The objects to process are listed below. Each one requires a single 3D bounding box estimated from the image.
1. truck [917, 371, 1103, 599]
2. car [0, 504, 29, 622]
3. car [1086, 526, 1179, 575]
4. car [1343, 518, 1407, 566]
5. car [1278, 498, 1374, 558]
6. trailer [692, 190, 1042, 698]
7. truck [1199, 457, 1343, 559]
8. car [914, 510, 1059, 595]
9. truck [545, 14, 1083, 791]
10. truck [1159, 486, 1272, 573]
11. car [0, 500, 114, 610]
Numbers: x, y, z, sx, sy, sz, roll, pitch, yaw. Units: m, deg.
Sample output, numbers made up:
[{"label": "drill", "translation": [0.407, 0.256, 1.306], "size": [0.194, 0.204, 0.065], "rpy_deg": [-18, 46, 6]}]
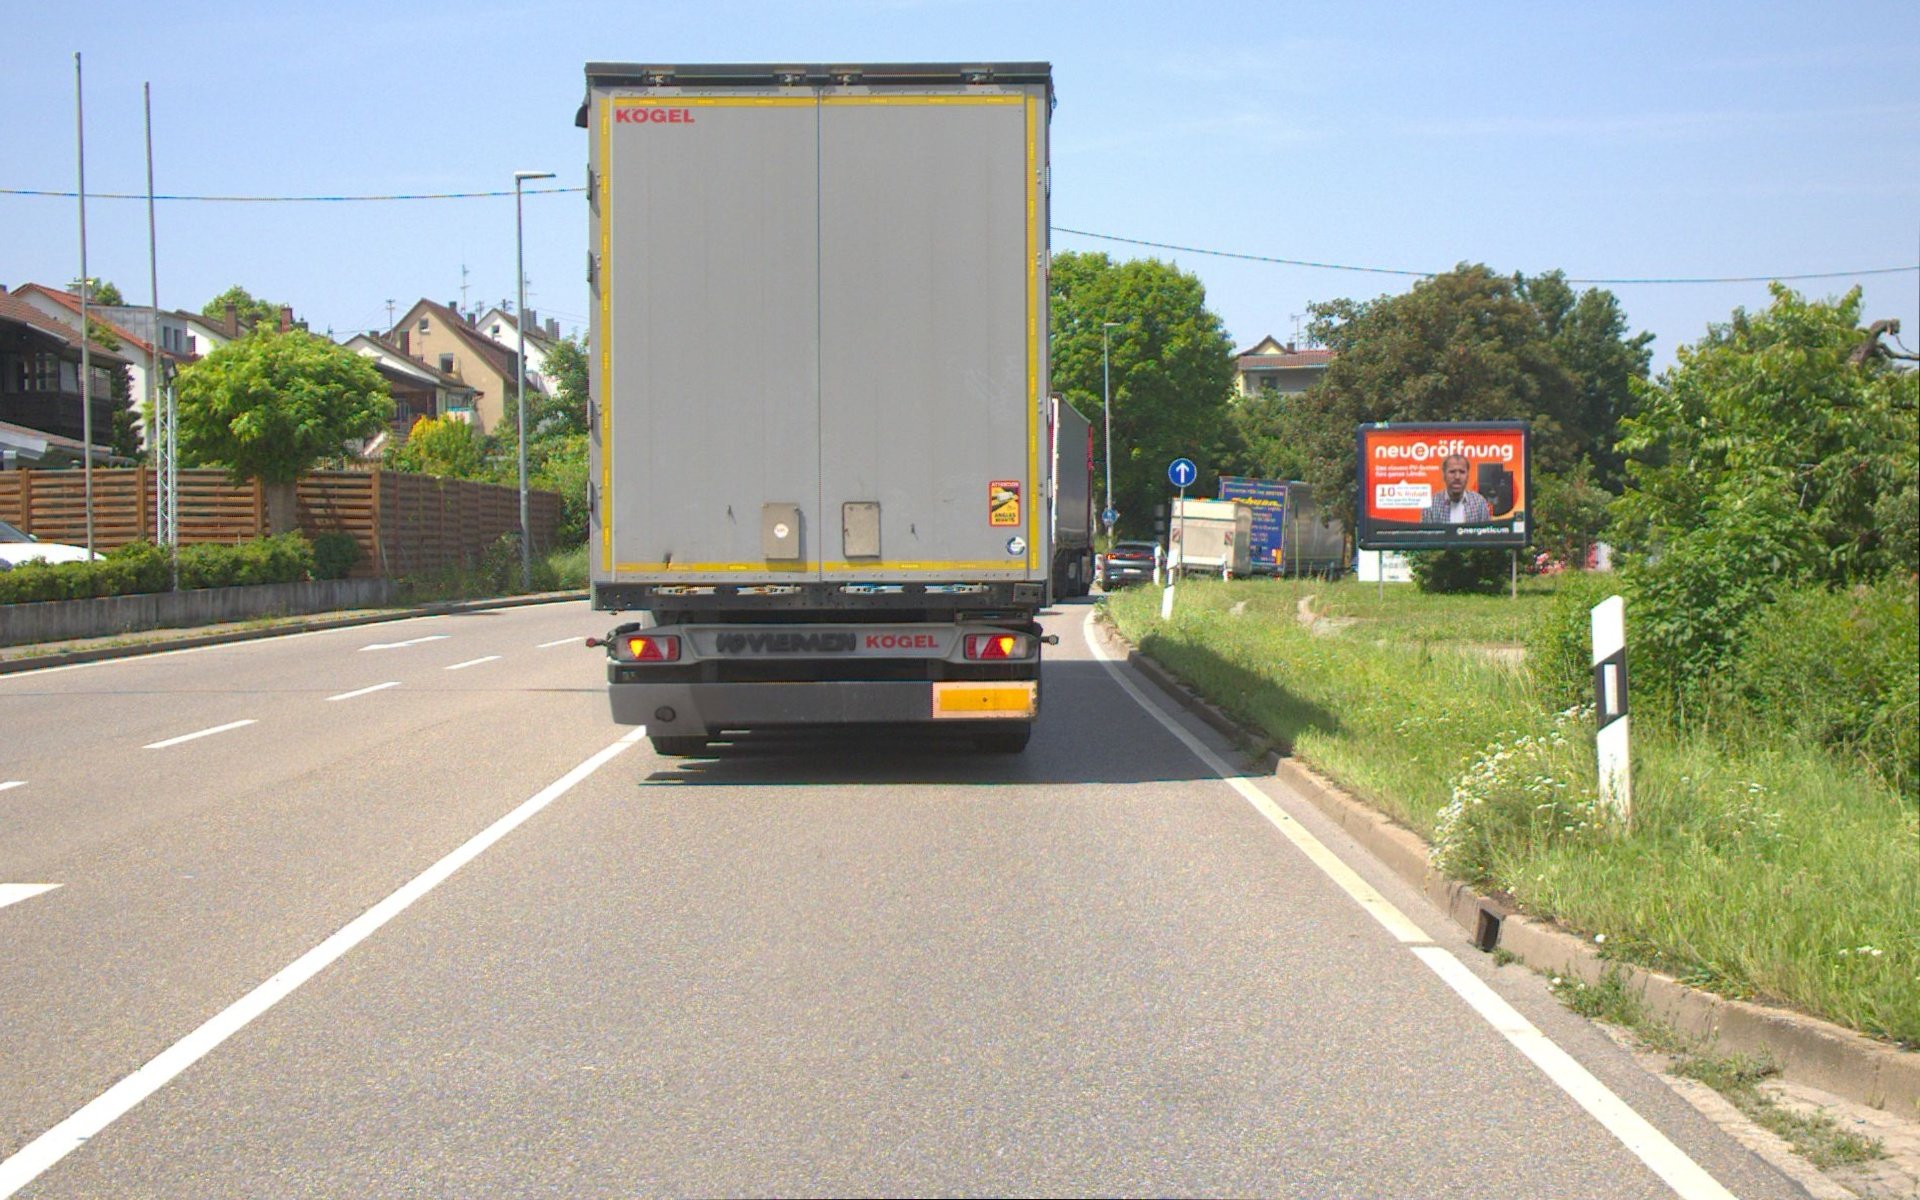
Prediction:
[{"label": "truck", "translation": [1.278, -2.249, 73.116], "size": [2.761, 4.274, 16.413], "rpy_deg": [1, 1, 5]}, {"label": "car", "translation": [-13.908, -0.491, 42.708], "size": [4.334, 1.442, 1.896], "rpy_deg": [1, 1, 26]}, {"label": "car", "translation": [5.048, -1.421, 100.251], "size": [1.995, 1.371, 3.998], "rpy_deg": [1, 1, 13]}, {"label": "car", "translation": [17.747, -2.455, 146.765], "size": [1.995, 2.007, 3.997], "rpy_deg": [1, 1, 17]}, {"label": "car", "translation": [14.357, -2.839, 134.396], "size": [2.534, 2.269, 6.376], "rpy_deg": [1, 2, 17]}, {"label": "trailer", "translation": [-0.732, -1.347, 31.078], "size": [2.825, 4.096, 6.544], "rpy_deg": [0, 1, 0]}, {"label": "truck", "translation": [11.501, -3.383, 126.062], "size": [3.435, 3.592, 9.346], "rpy_deg": [1, 2, 17]}, {"label": "car", "translation": [0.468, -0.772, 56.544], "size": [1.819, 1.342, 3.846], "rpy_deg": [1, 1, 9]}, {"label": "truck", "translation": [-0.756, -1.179, 24.113], "size": [2.822, 4.113, 11.444], "rpy_deg": [1, 1, 0]}, {"label": "truck", "translation": [8.511, -2.301, 114.093], "size": [2.545, 2.793, 6.027], "rpy_deg": [1, 1, 16]}, {"label": "car", "translation": [-13.813, -0.625, 46.651], "size": [4.334, 1.442, 1.854], "rpy_deg": [1, 1, 26]}]
